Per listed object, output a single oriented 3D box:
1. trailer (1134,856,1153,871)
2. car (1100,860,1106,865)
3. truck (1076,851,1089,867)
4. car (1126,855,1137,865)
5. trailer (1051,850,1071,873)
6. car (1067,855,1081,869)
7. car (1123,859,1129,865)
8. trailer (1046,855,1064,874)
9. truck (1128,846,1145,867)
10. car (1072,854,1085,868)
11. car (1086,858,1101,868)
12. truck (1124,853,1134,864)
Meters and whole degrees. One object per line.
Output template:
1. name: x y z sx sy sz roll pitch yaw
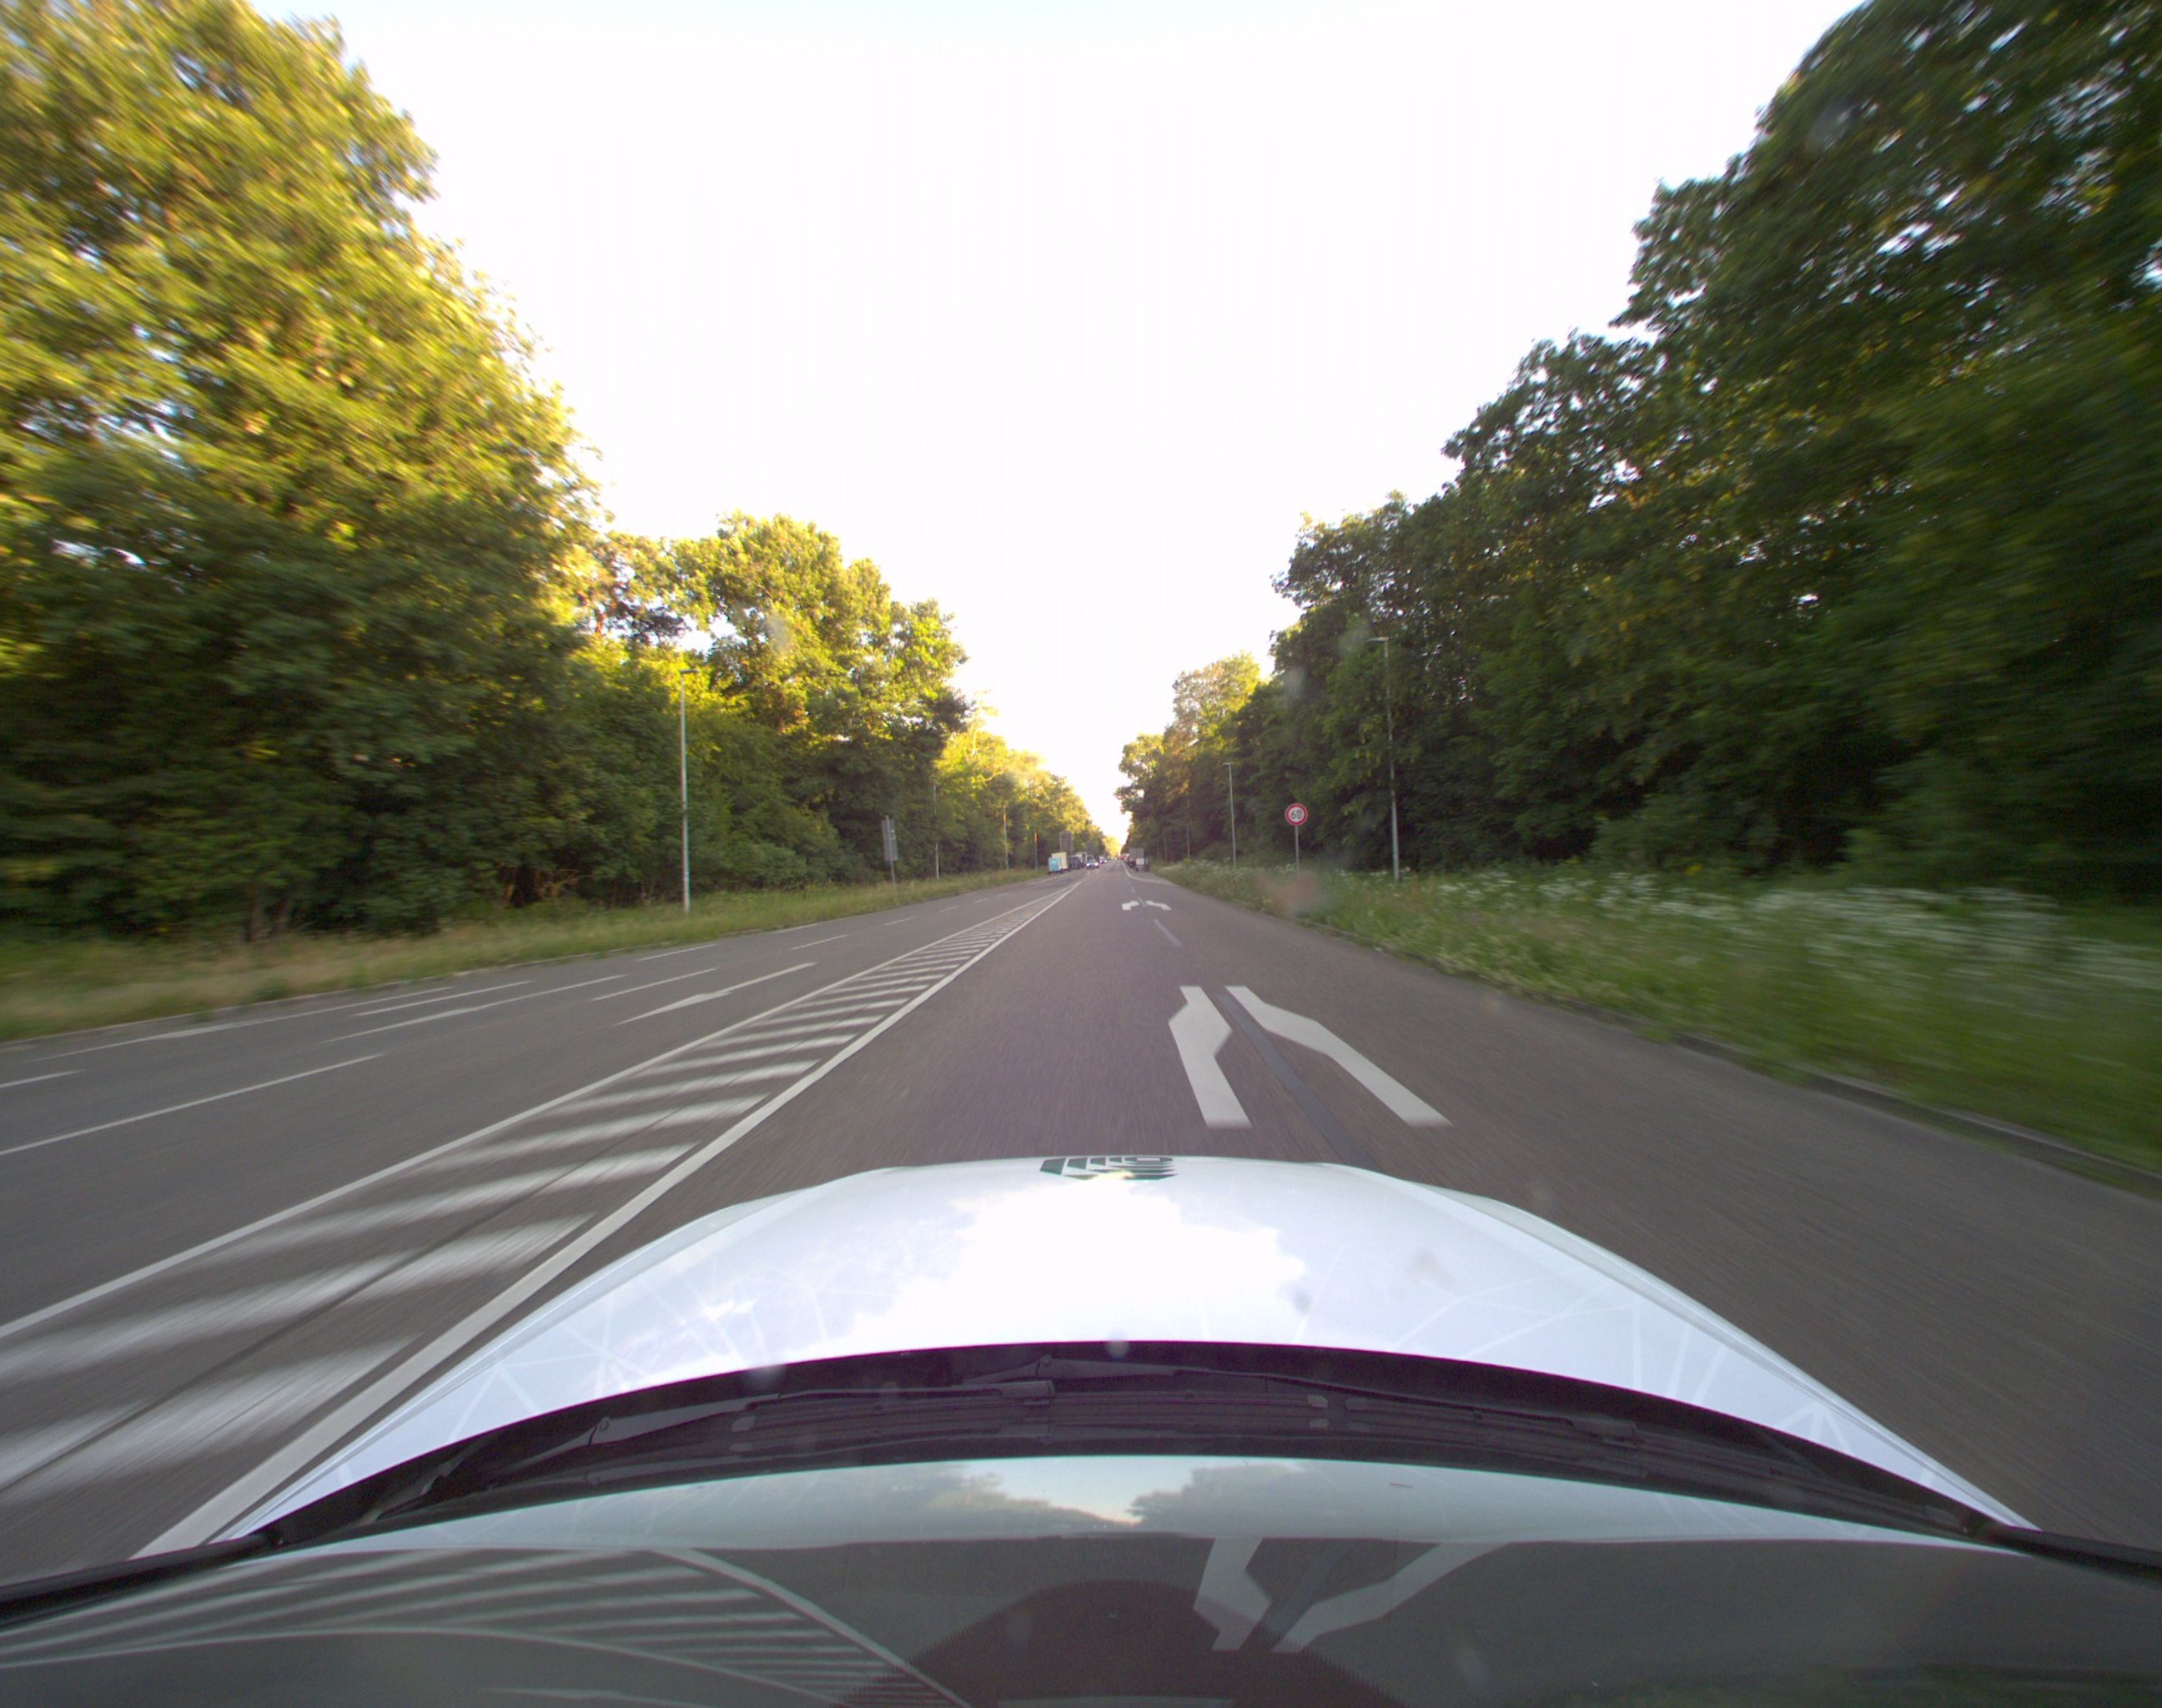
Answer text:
1. trailer: 7.675 1.192 99.847 1.445 1.662 3.793 -3 -1 16
2. car: 6.509 2.574 242.539 1.677 1.486 4.037 -3 0 0
3. truck: 0.312 1.132 184.632 2.494 3.328 6.845 -3 0 2
4. car: 10.392 1.261 166.318 1.987 1.955 4.299 -1 -1 0
5. trailer: -2.871 1.058 116.221 2.317 2.924 5.629 -5 0 2
6. car: -1.195 1.390 141.708 1.986 2.364 5.769 -5 0 2
7. car: 11.408 2.016 205.254 1.143 1.251 2.754 -11 1 0
8. trailer: -3.165 1.301 100.602 1.810 2.167 4.144 -3 0 2
9. truck: 8.993 0.400 132.427 2.577 3.255 7.228 -1 -1 4
10. car: -0.494 1.349 159.051 2.240 2.647 5.724 -3 0 2
11. car: 2.029 1.525 135.616 2.054 1.435 4.472 -5 0 5
12. truck: 11.548 1.081 197.868 2.134 2.660 4.299 -1 -1 0
